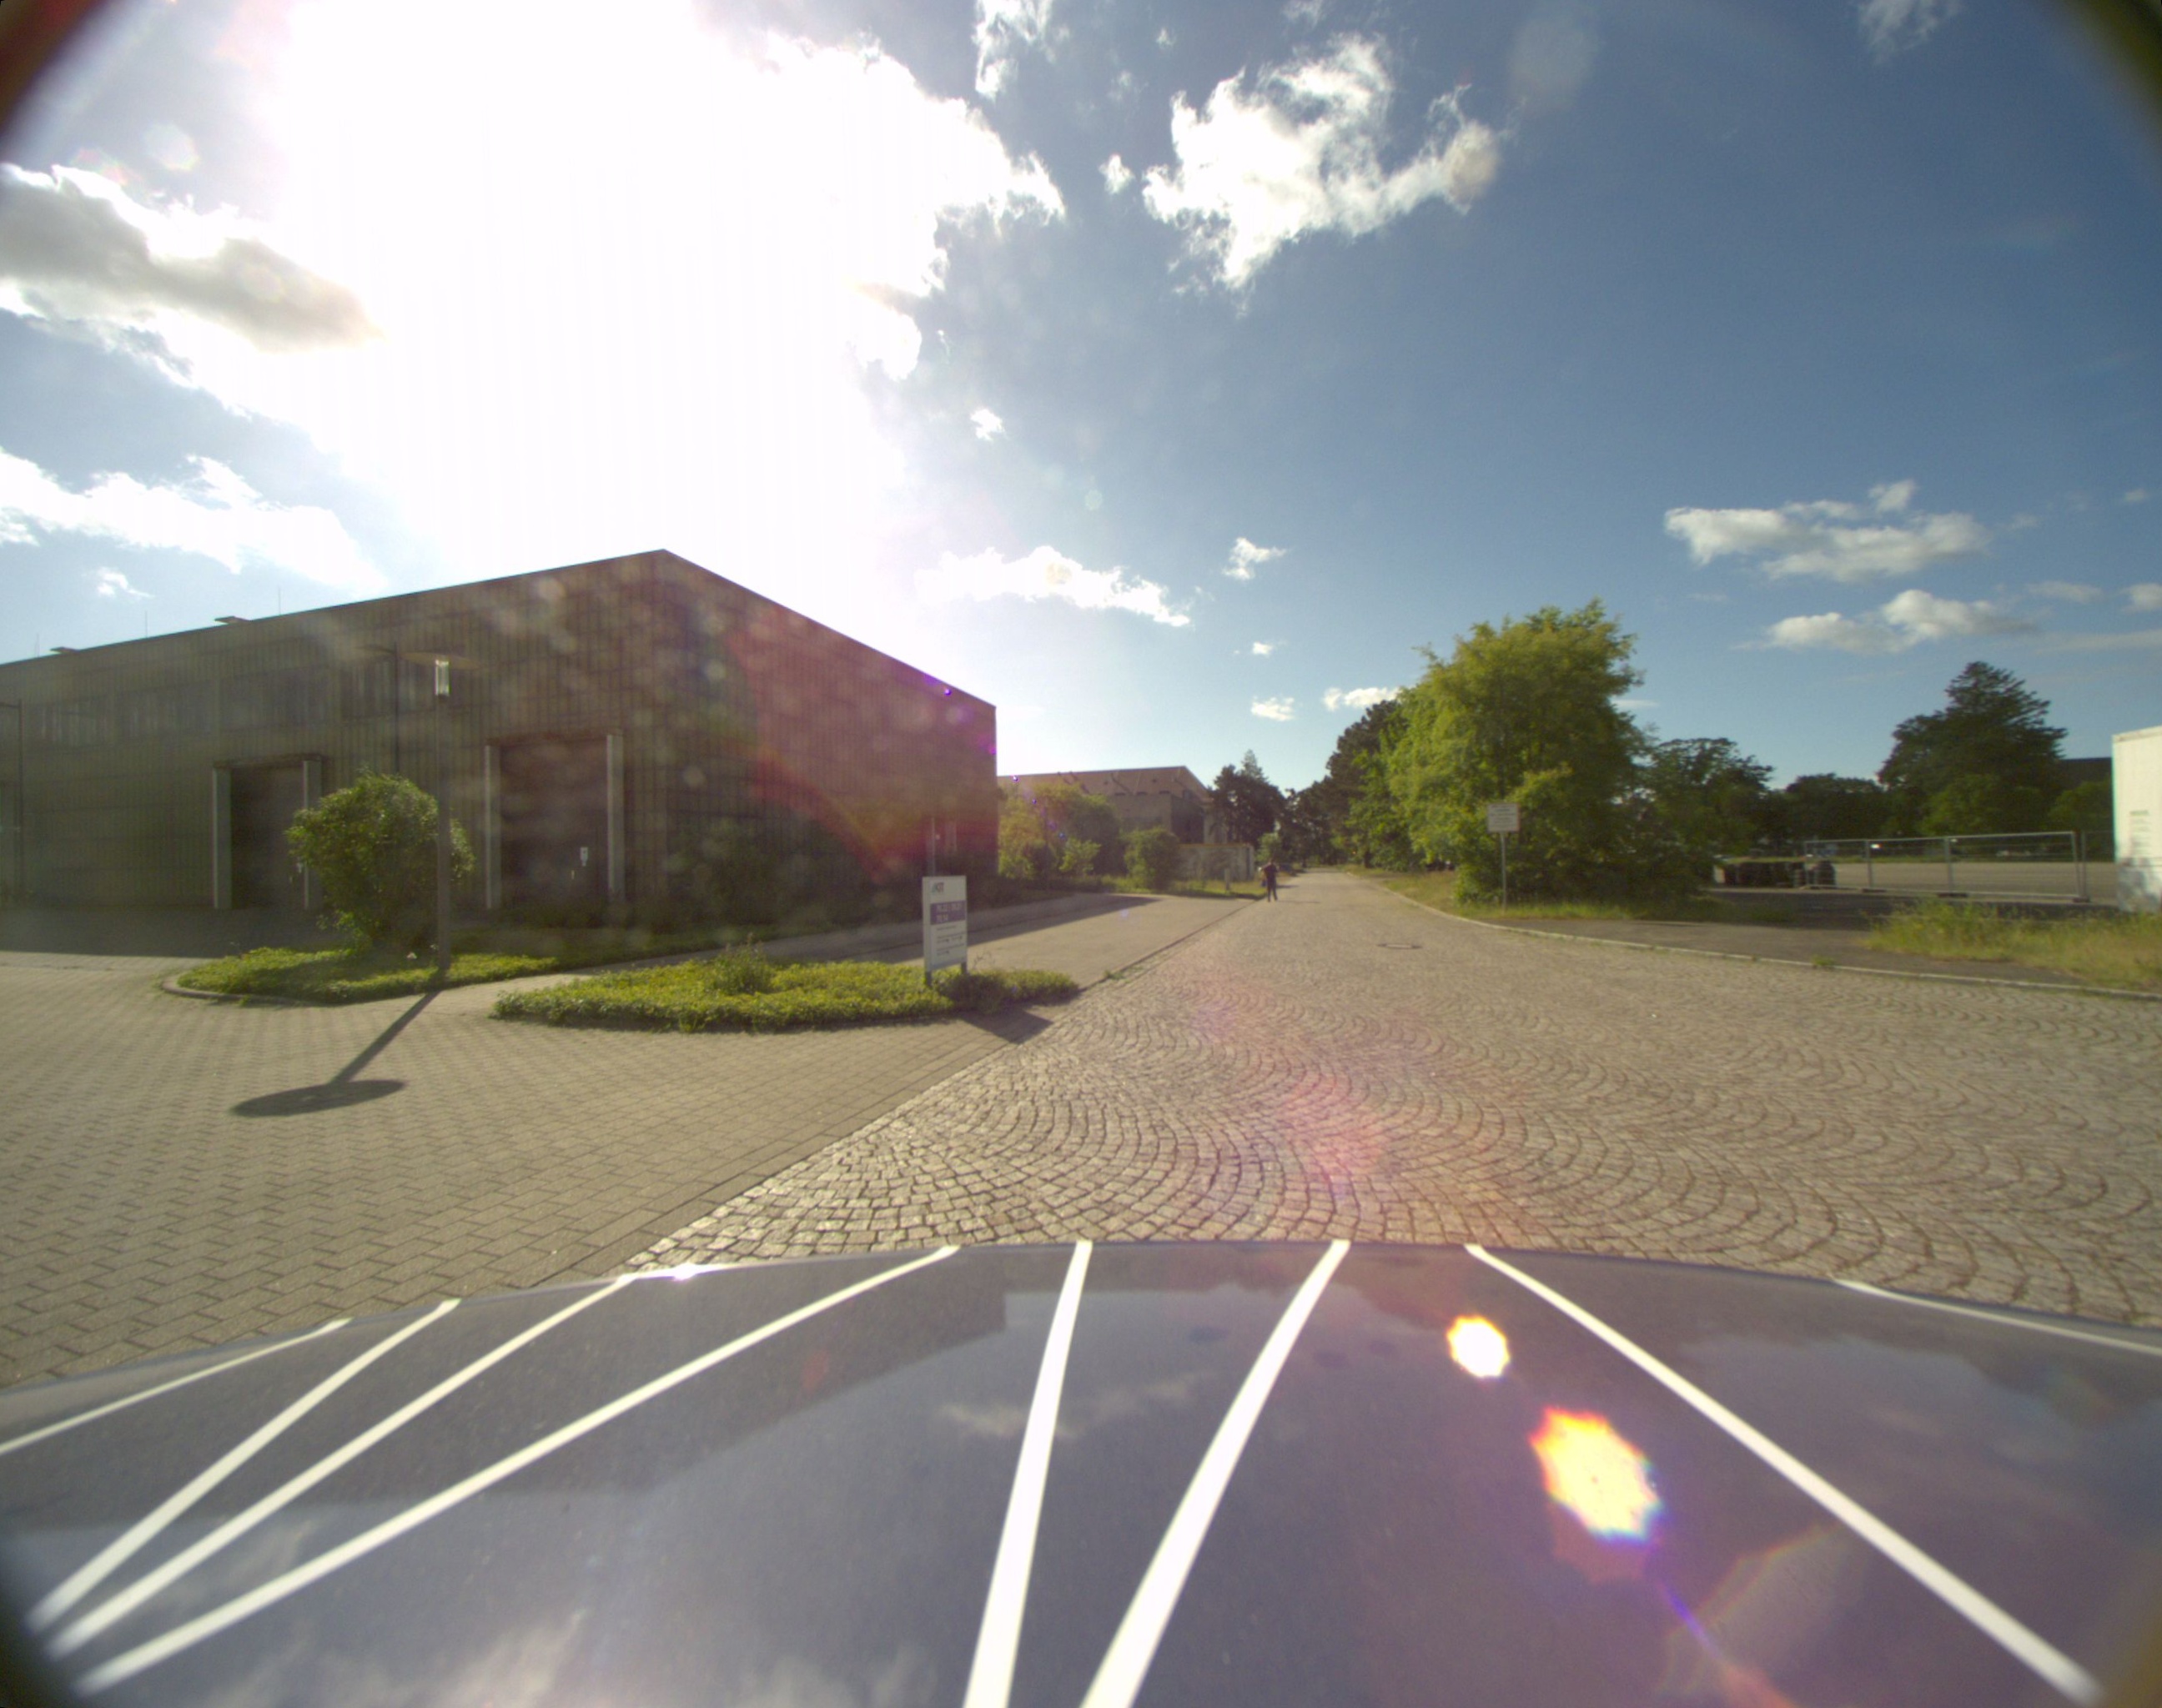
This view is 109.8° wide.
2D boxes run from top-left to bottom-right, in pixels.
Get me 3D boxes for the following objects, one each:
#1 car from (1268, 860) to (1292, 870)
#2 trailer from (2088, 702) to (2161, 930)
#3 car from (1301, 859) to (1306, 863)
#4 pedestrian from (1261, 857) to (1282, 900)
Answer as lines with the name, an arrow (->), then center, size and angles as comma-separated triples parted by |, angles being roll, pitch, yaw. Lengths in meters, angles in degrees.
car -> 25.627, 1.452, 98.065 | 2.907, 1.252, 1.289 | -1, 0, 9
trailer -> 18.430, -0.683, 8.699 | 2.775, 3.887, 10.903 | -1, 0, 20
car -> 60.965, 1.905, 208.070 | 1.371, 1.092, 2.866 | -1, 0, 15
pedestrian -> 7.999, 1.011, 31.886 | 0.796, 1.770, 1.070 | 1, 0, 16
